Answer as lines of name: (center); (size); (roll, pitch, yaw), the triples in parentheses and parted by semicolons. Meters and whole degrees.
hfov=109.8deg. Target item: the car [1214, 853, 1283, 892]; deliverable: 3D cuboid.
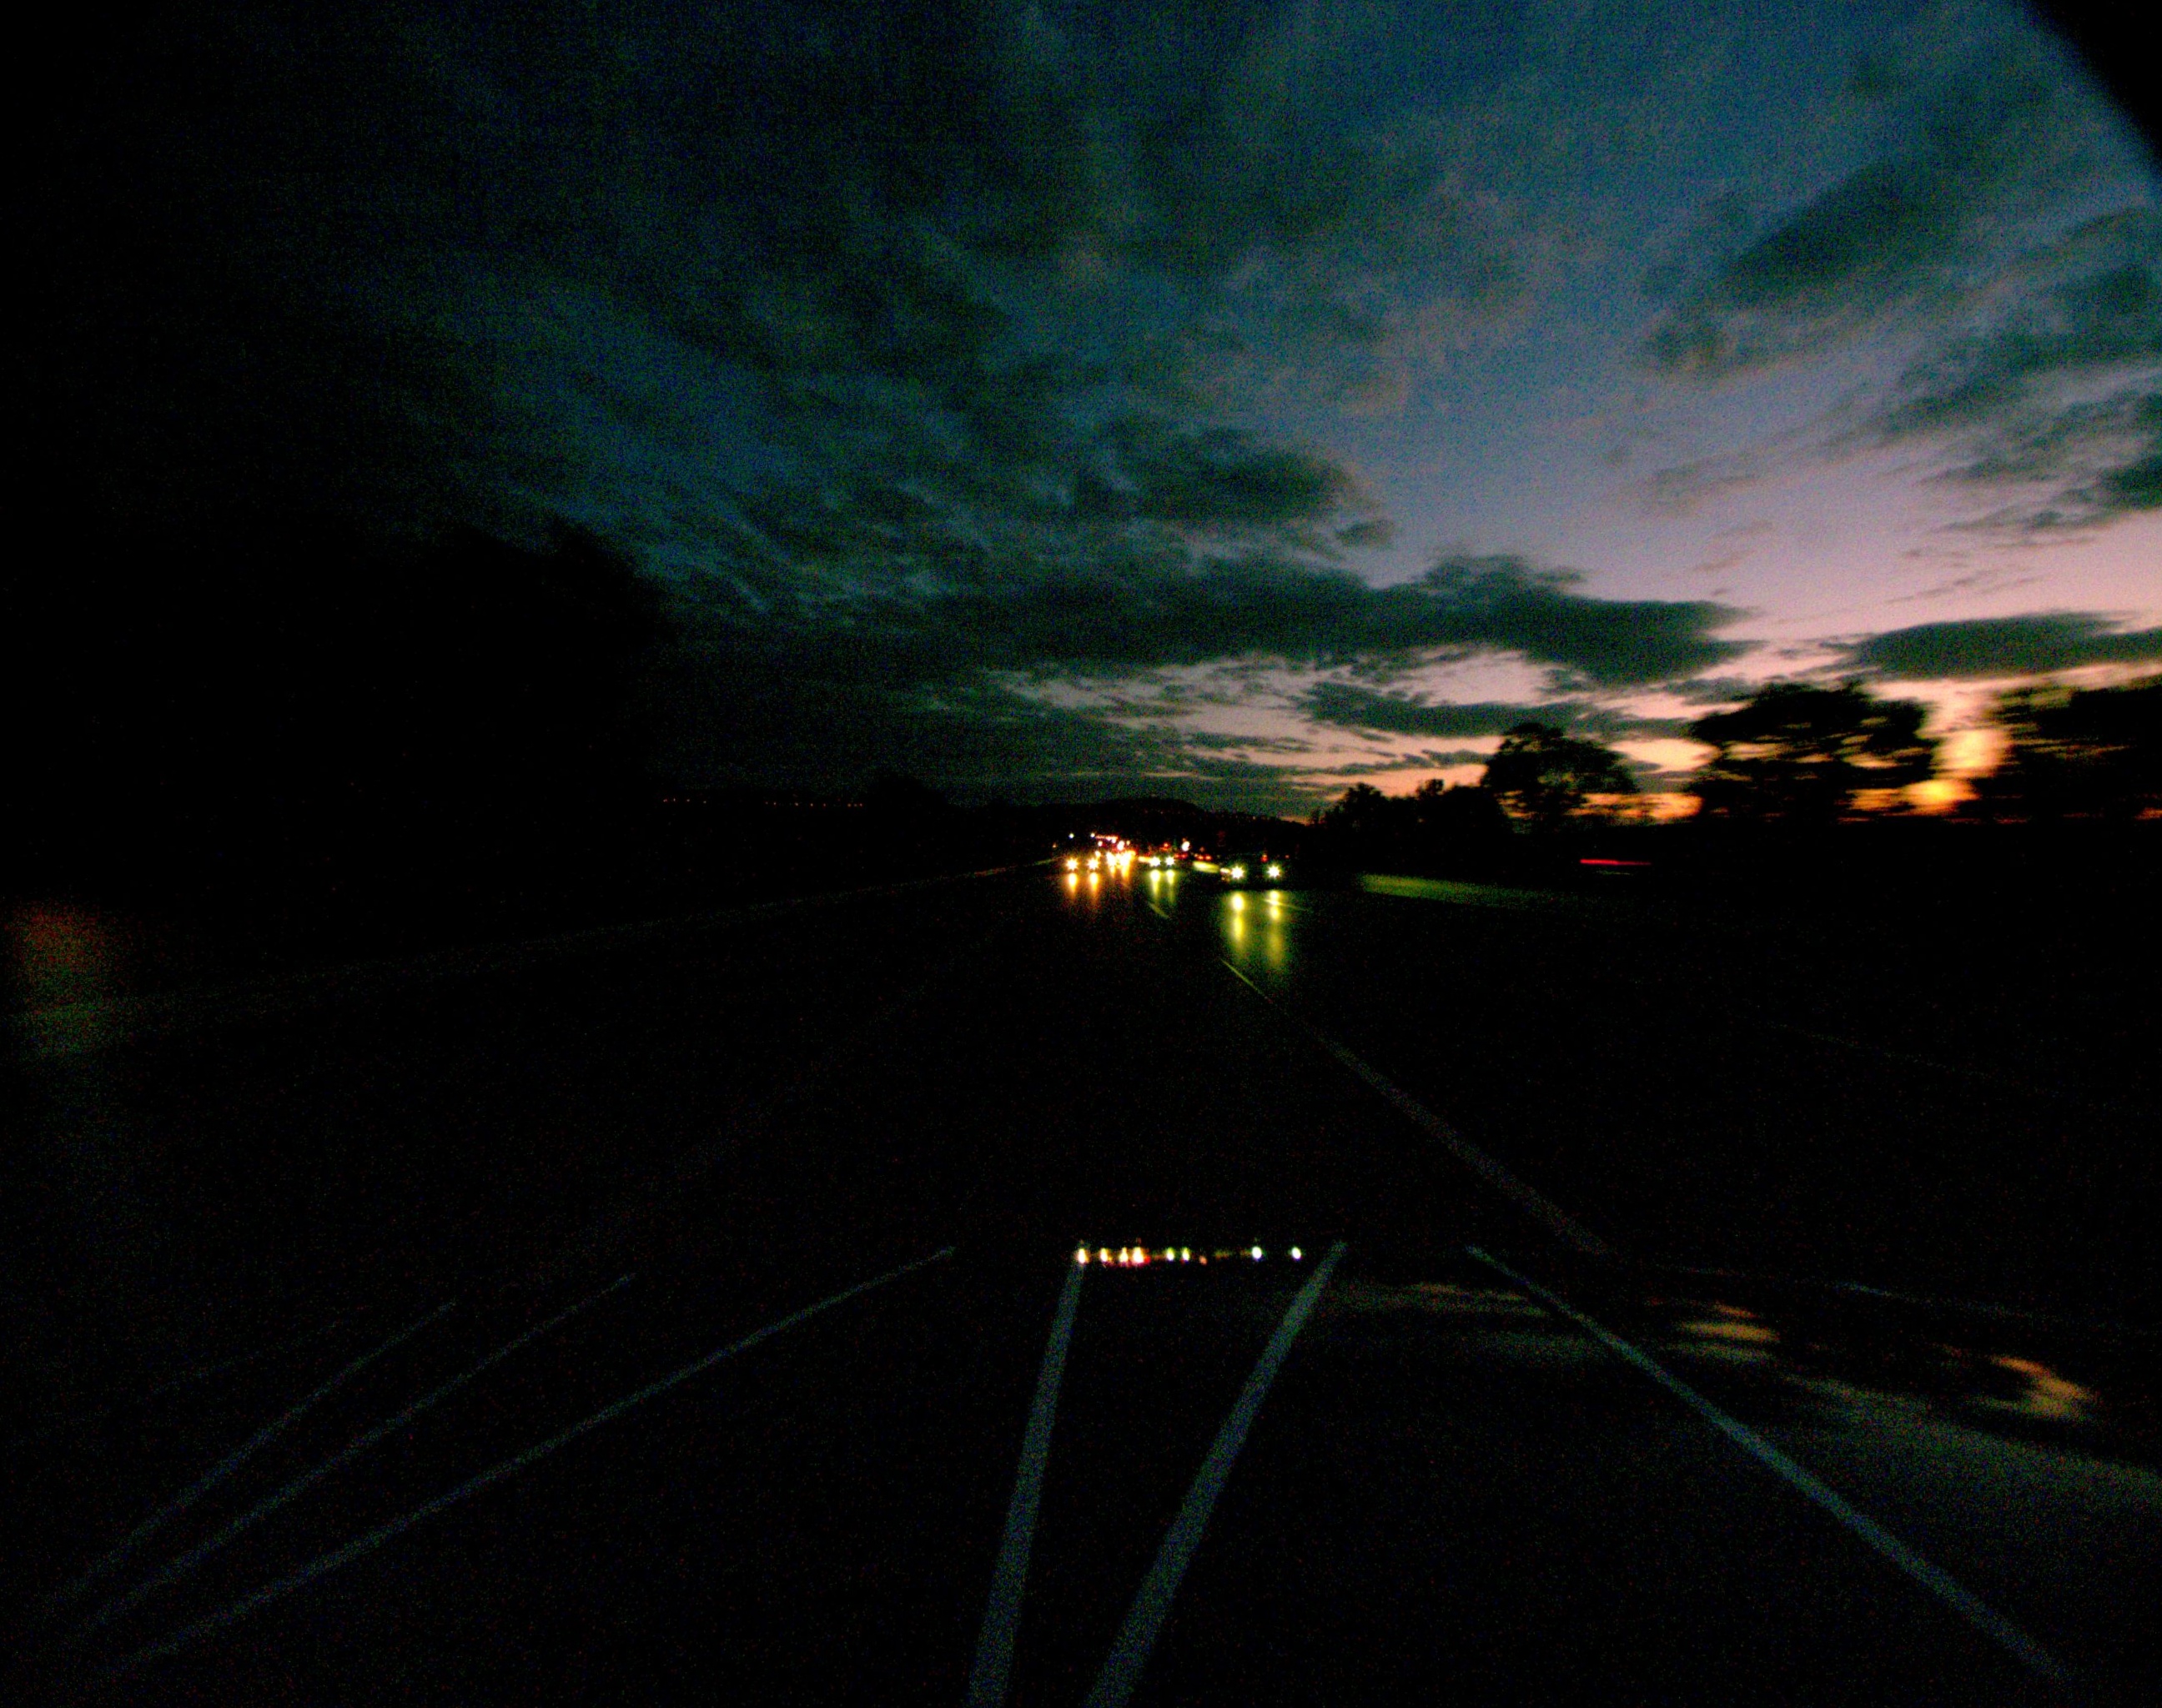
car: (7.304, 0.748, 33.667); (1.819, 1.429, 5.394); (-2, 1, 0)

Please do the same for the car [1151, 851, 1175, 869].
car: (8.043, 0.553, 74.787); (1.819, 1.638, 4.856); (-2, 1, 0)

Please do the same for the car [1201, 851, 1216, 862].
car: (20.062, 0.366, 119.504); (1.737, 1.537, 3.999); (-2, 1, 0)

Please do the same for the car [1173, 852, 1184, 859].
car: (20.509, 0.257, 159.843); (1.748, 1.354, 4.111); (-2, 1, 0)

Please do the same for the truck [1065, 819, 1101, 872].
truck: (0.225, -0.725, 72.834); (3.012, 4.570, 12.578); (-2, 0, 1)

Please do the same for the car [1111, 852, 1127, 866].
car: (4.673, 0.621, 93.782); (1.802, 1.531, 4.159); (-2, 1, 0)

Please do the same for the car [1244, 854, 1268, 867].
car: (20.579, 0.767, 89.656); (1.864, 1.445, 4.274); (-2, 1, 1)

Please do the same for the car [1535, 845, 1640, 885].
car: (23.132, 0.449, 34.970); (1.664, 1.634, 4.793); (-2, 1, 1)
